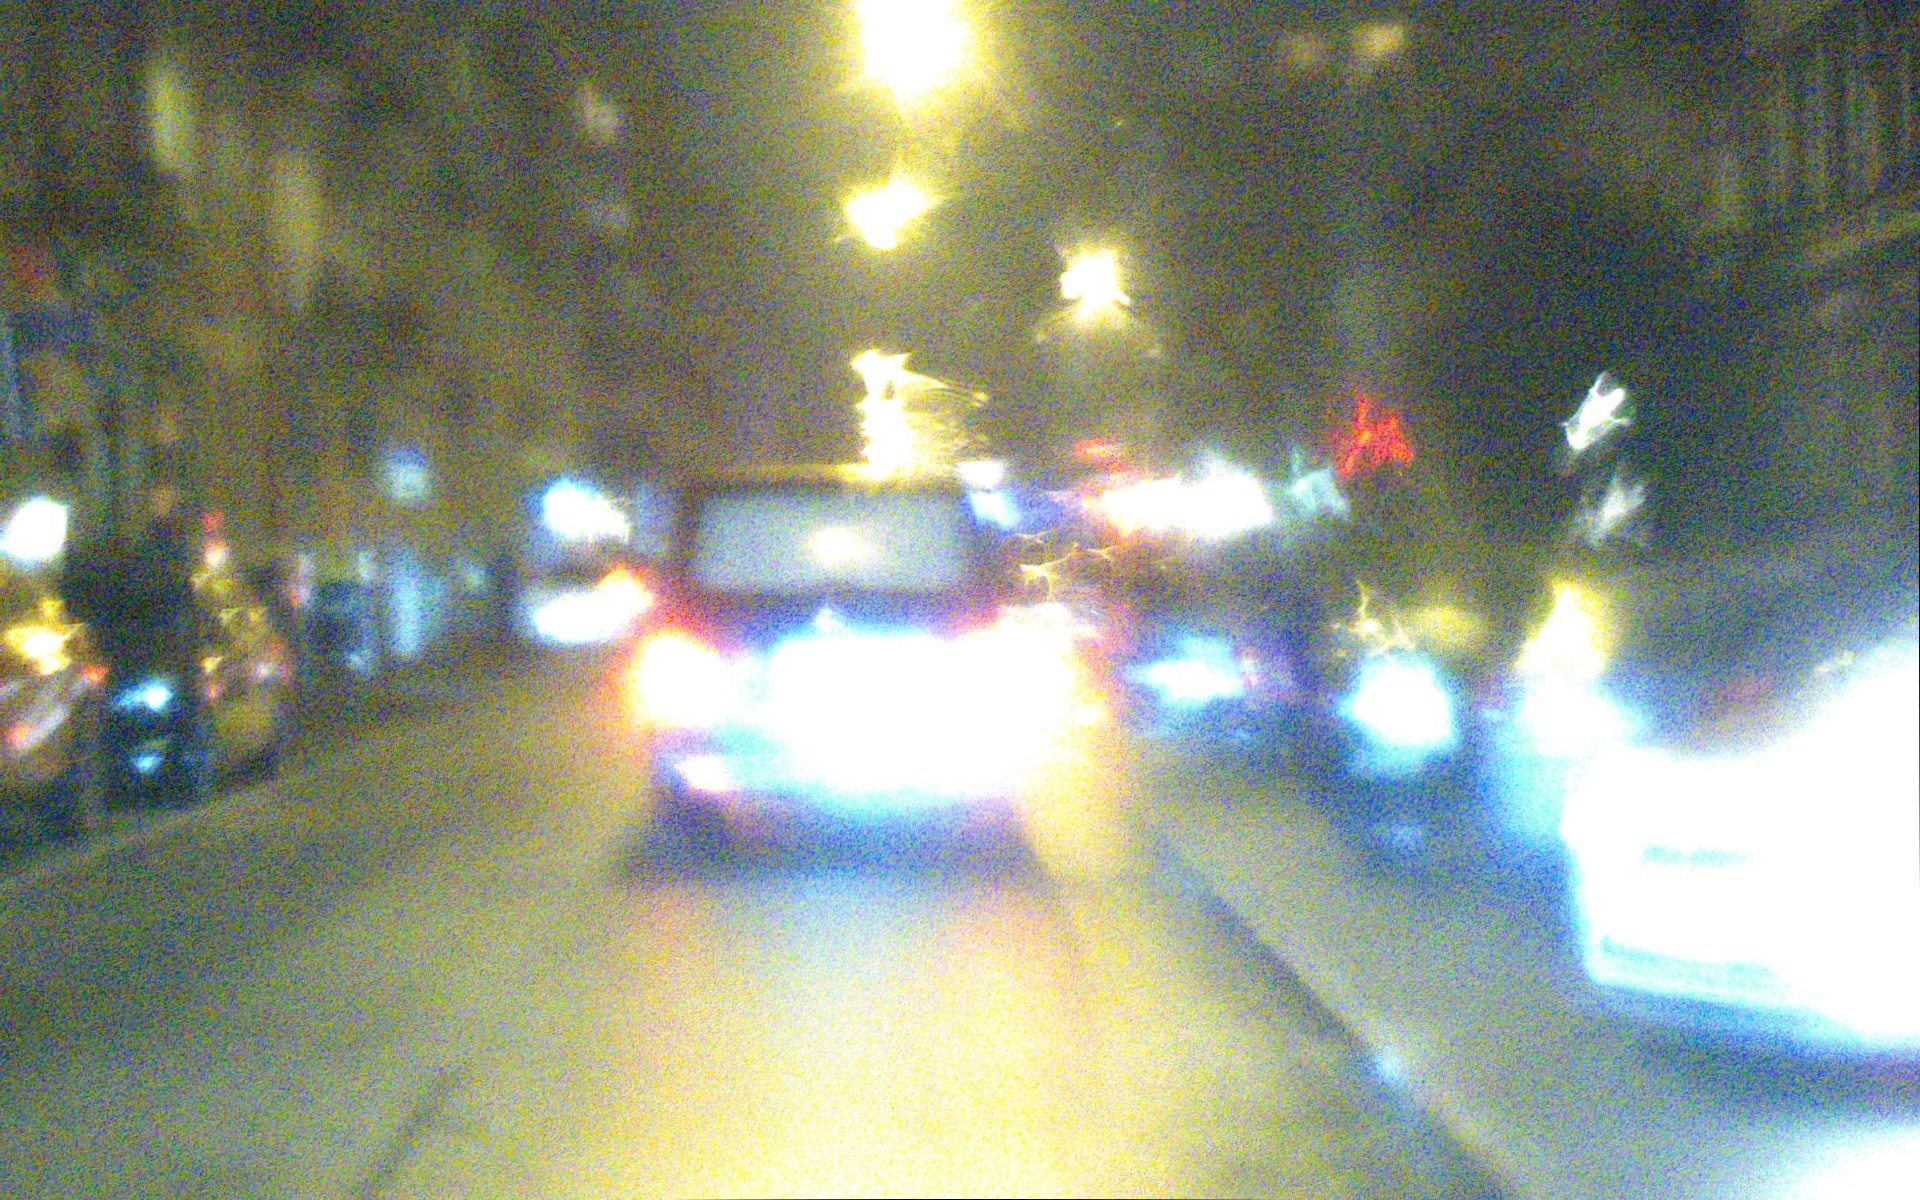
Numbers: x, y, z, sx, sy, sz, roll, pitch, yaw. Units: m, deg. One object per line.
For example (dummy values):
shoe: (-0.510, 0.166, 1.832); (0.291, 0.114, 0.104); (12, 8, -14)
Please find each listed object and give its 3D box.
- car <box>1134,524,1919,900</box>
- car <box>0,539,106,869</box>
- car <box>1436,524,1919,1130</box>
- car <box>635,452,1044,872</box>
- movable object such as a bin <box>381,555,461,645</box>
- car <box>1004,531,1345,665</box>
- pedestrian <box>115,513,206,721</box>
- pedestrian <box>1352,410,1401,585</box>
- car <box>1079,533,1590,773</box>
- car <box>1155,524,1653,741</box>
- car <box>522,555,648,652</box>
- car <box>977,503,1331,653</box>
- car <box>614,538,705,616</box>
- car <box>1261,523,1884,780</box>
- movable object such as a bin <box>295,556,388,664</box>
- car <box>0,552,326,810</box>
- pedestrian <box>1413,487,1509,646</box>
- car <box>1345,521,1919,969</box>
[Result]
car: (3.003, 0.468, 16.828); (3.988, 1.547, 1.804); (-3, 1, -36)
car: (-5.334, 0.488, 16.410); (1.603, 1.547, 4.026); (0, 1, -1)
car: (3.390, 0.523, 10.366); (3.641, 1.536, 1.560); (-2, 1, -31)
car: (-0.625, 0.299, 18.917); (1.993, 2.043, 4.000); (-1, 0, -1)
movable object such as a bin: (-8.560, -0.006, 54.613); (1.048, 1.394, 1.158); (1, 1, 2)
car: (2.770, -0.035, 44.311); (3.987, 1.487, 1.735); (-3, 1, -26)
pedestrian: (-7.105, 0.141, 30.582); (0.591, 1.814, 0.795); (2, 1, -1)
pedestrian: (8.420, -2.064, 69.516); (0.891, 3.515, 0.791); (0, 1, -1)
car: (2.682, 0.332, 24.093); (1.603, 1.455, 3.675); (-2, 1, 44)
car: (3.512, 0.215, 27.075); (3.641, 1.575, 1.593); (-1, 1, -29)
car: (-5.972, 0.030, 55.108); (1.587, 1.477, 3.793); (0, 1, 0)
car: (2.840, -0.355, 50.011); (4.784, 2.042, 2.067); (-2, 1, -31)
car: (-6.165, -0.485, 70.822); (1.812, 1.552, 4.077); (0, 1, -4)
car: (4.059, 0.295, 22.527); (3.988, 1.447, 1.688); (-3, 1, -36)
movable object such as a bin: (-8.140, 0.122, 45.273); (0.975, 1.394, 1.133); (1, 1, 2)
car: (-5.249, 0.439, 22.011); (1.686, 1.450, 4.316); (0, 1, -1)
pedestrian: (6.051, -0.406, 41.566); (0.868, 1.849, 0.993); (-3, 1, -3)
car: (3.731, 0.461, 14.047); (3.988, 1.547, 1.999); (-3, 1, -38)
